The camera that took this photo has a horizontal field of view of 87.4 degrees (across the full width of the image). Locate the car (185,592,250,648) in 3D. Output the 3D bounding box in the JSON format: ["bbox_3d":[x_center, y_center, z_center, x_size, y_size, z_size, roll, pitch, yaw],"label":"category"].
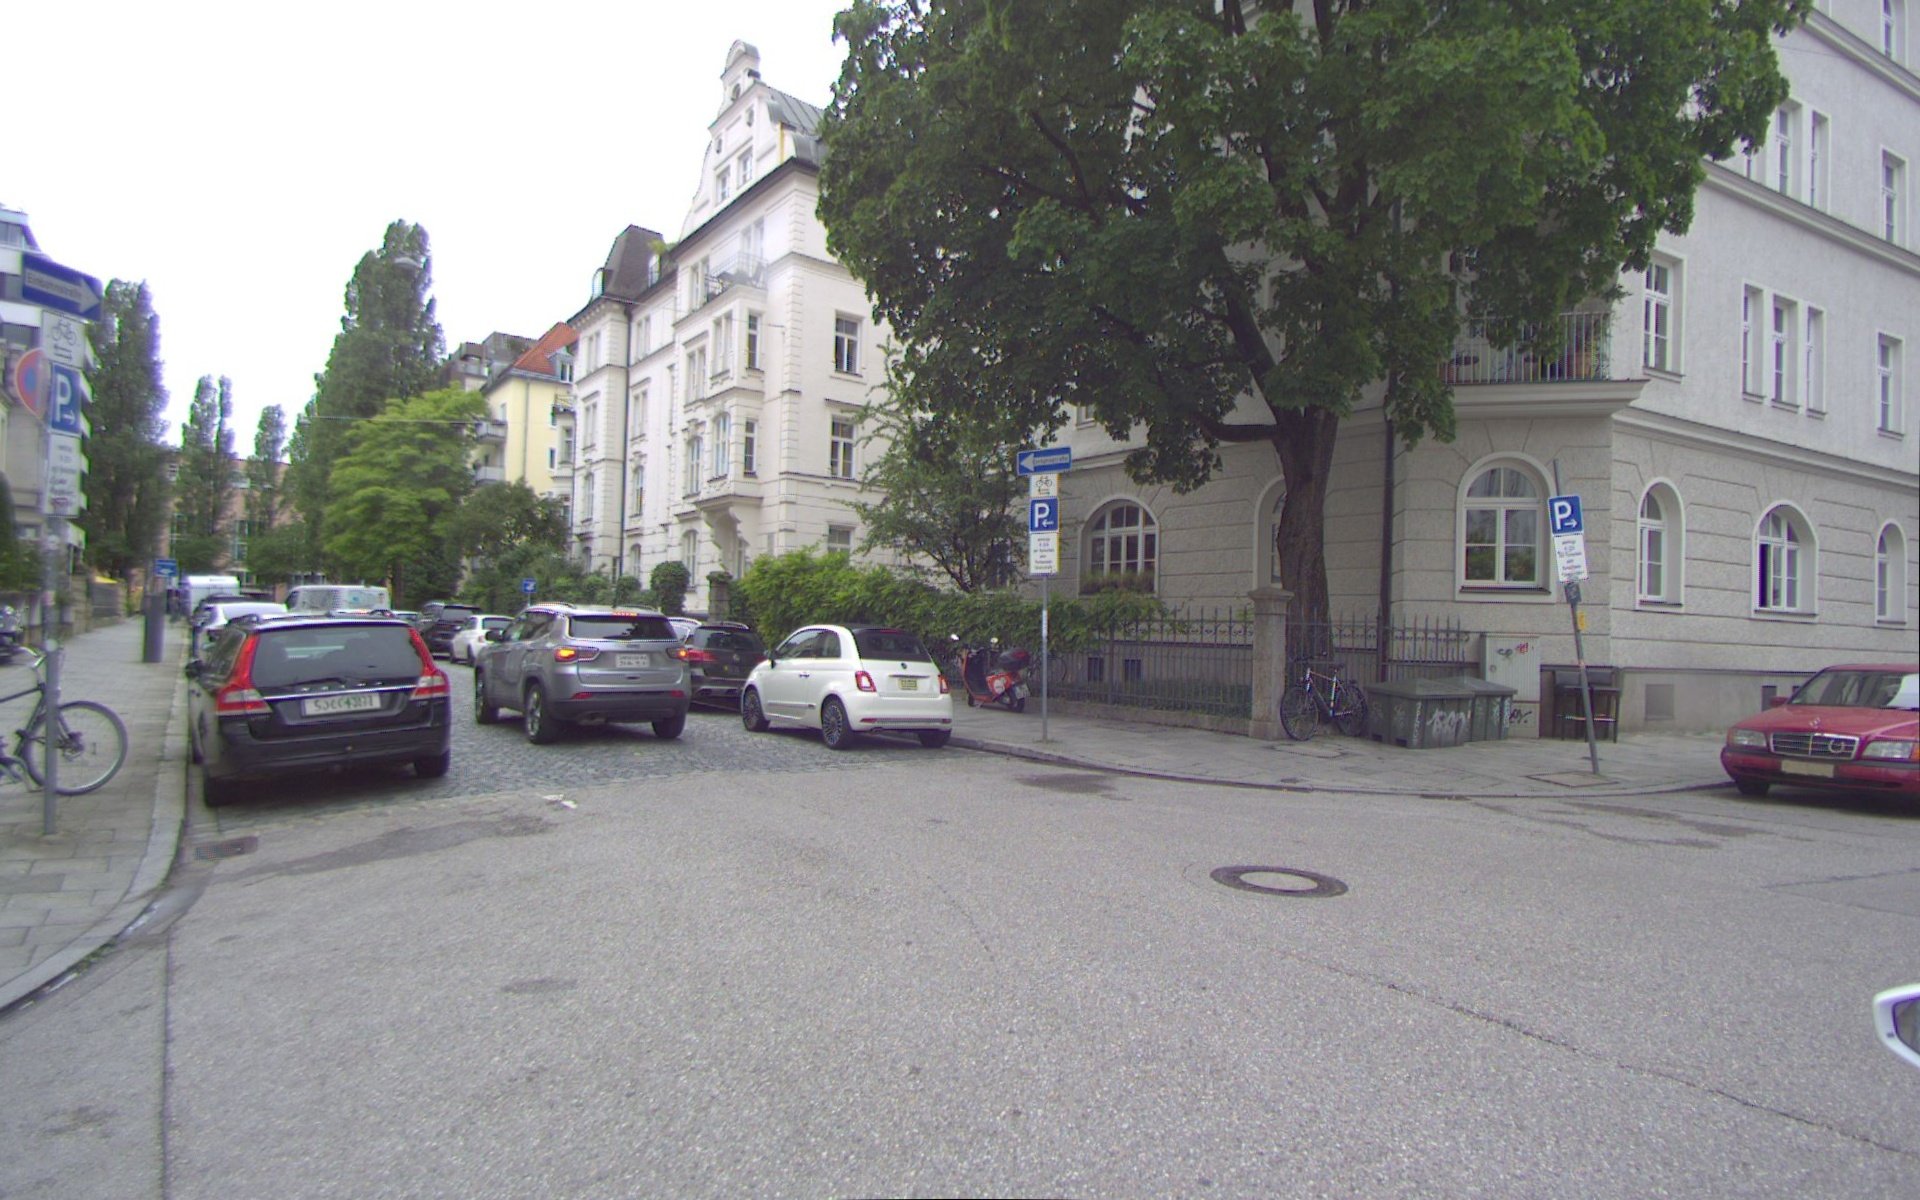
[{"bbox_3d":[-26.769,0.725,36.166,1.693,1.884,3.956,3,-2,-38],"label":"car"}]

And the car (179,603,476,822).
[{"bbox_3d":[-6.218,0.828,9.628,1.887,1.536,4.299,-2,1,-39],"label":"car"}]

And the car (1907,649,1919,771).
[{"bbox_3d":[14.061,1.437,12.847,4.175,1.492,1.981,3,-2,-34],"label":"car"}]

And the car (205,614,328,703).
[{"bbox_3d":[-12.185,0.964,17.582,1.579,1.359,3.773,3,-2,-37],"label":"car"}]

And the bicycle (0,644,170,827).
[{"bbox_3d":[-6.724,0.930,7.204,0.597,1.184,1.835,3,-2,0],"label":"bicycle"}]

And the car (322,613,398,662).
[{"bbox_3d":[-17.753,1.079,29.682,1.592,1.348,2.921,3,-2,-37],"label":"car"}]

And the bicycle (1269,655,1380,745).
[{"bbox_3d":[4.876,1.298,13.382,1.810,1.066,0.490,0,0,-37],"label":"bicycle"}]

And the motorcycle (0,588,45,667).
[{"bbox_3d":[-18.882,0.548,19.827,0.956,1.481,2.857,3,-3,-39],"label":"motorcycle"}]

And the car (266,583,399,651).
[{"bbox_3d":[-24.378,0.651,39.026,4.516,2.508,2.162,1,-2,25],"label":"car"}]

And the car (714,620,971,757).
[{"bbox_3d":[-1.706,1.059,13.385,1.669,1.468,3.959,3,-2,-36],"label":"car"}]

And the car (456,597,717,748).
[{"bbox_3d":[-5.026,0.849,13.150,1.947,1.629,4.261,3,-2,-38],"label":"car"}]

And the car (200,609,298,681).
[{"bbox_3d":[-15.930,0.955,22.438,1.605,1.461,3.958,3,-2,-37],"label":"car"}]

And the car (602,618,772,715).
[{"bbox_3d":[-4.924,1.100,17.779,1.636,1.492,3.960,3,-2,-35],"label":"car"}]

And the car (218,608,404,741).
[{"bbox_3d":[-9.012,0.885,13.794,1.670,1.528,4.215,0,0,-40],"label":"car"}]

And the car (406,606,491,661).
[{"bbox_3d":[-16.723,1.052,32.730,1.693,1.669,3.956,3,-2,-38],"label":"car"}]

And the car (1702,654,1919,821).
[{"bbox_3d":[9.777,1.322,10.539,4.178,1.396,1.722,3,-2,-30],"label":"car"}]

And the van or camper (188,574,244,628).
[{"bbox_3d":[-44.401,0.098,59.902,2.407,2.973,5.313,3,-2,-38],"label":"van or camper"}]

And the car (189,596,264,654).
[{"bbox_3d":[-22.823,0.756,31.199,1.693,1.669,3.956,3,-2,-38],"label":"car"}]

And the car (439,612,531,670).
[{"bbox_3d":[-13.971,1.170,29.445,1.673,1.554,3.829,3,-2,-37],"label":"car"}]

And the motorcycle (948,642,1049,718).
[{"bbox_3d":[0.605,1.282,16.580,0.586,1.126,1.971,2,-1,-35],"label":"motorcycle"}]
